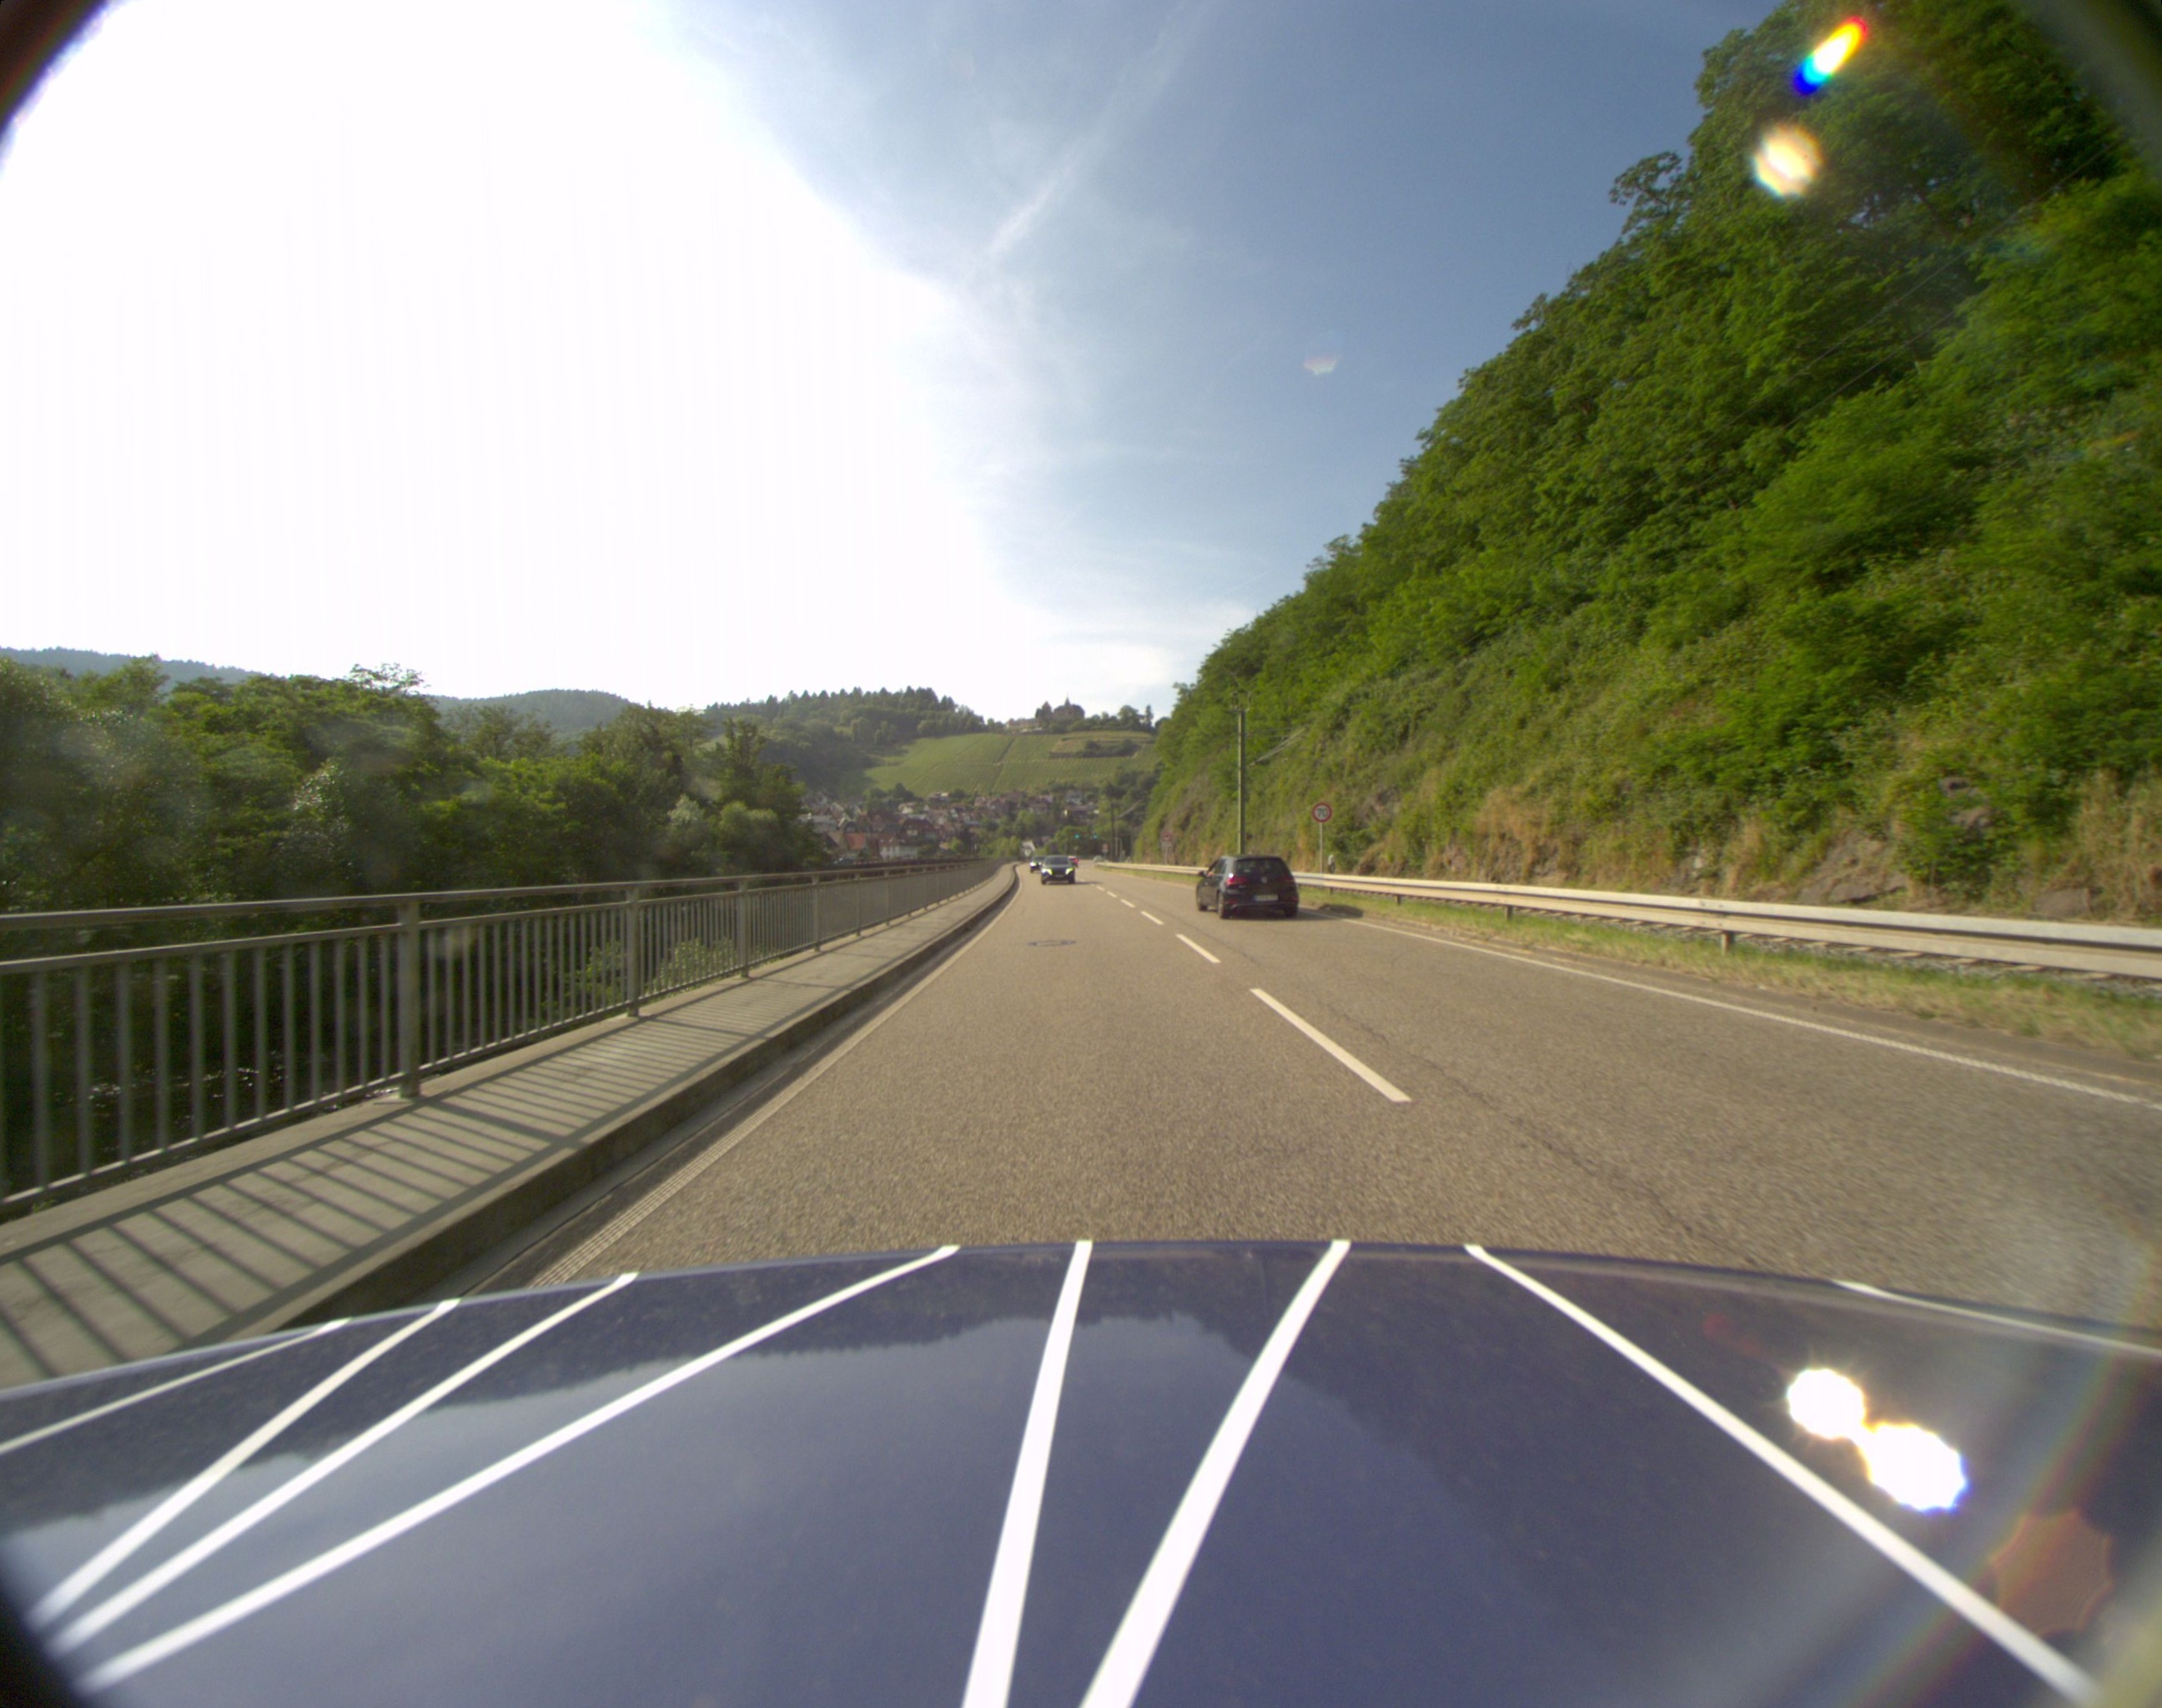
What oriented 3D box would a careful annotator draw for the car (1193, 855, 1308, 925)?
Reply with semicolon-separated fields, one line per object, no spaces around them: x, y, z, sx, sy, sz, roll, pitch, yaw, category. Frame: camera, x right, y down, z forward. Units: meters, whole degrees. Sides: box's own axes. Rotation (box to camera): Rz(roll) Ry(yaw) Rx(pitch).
3.946;0.788;18.365;1.852;1.432;3.897;-2;0;-1;car

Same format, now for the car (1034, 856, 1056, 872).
-3.375;0.937;71.473;1.999;1.384;3.999;0;-1;-3;car

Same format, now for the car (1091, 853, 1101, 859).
3.700;0.485;185.430;2.067;1.431;4.688;2;0;6;car

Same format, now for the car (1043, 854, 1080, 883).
-1.169;0.815;43.905;1.864;1.576;3.998;0;0;-5;car

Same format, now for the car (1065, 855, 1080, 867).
-1.209;1.012;104.605;1.852;1.535;4.602;-1;-1;-4;car
